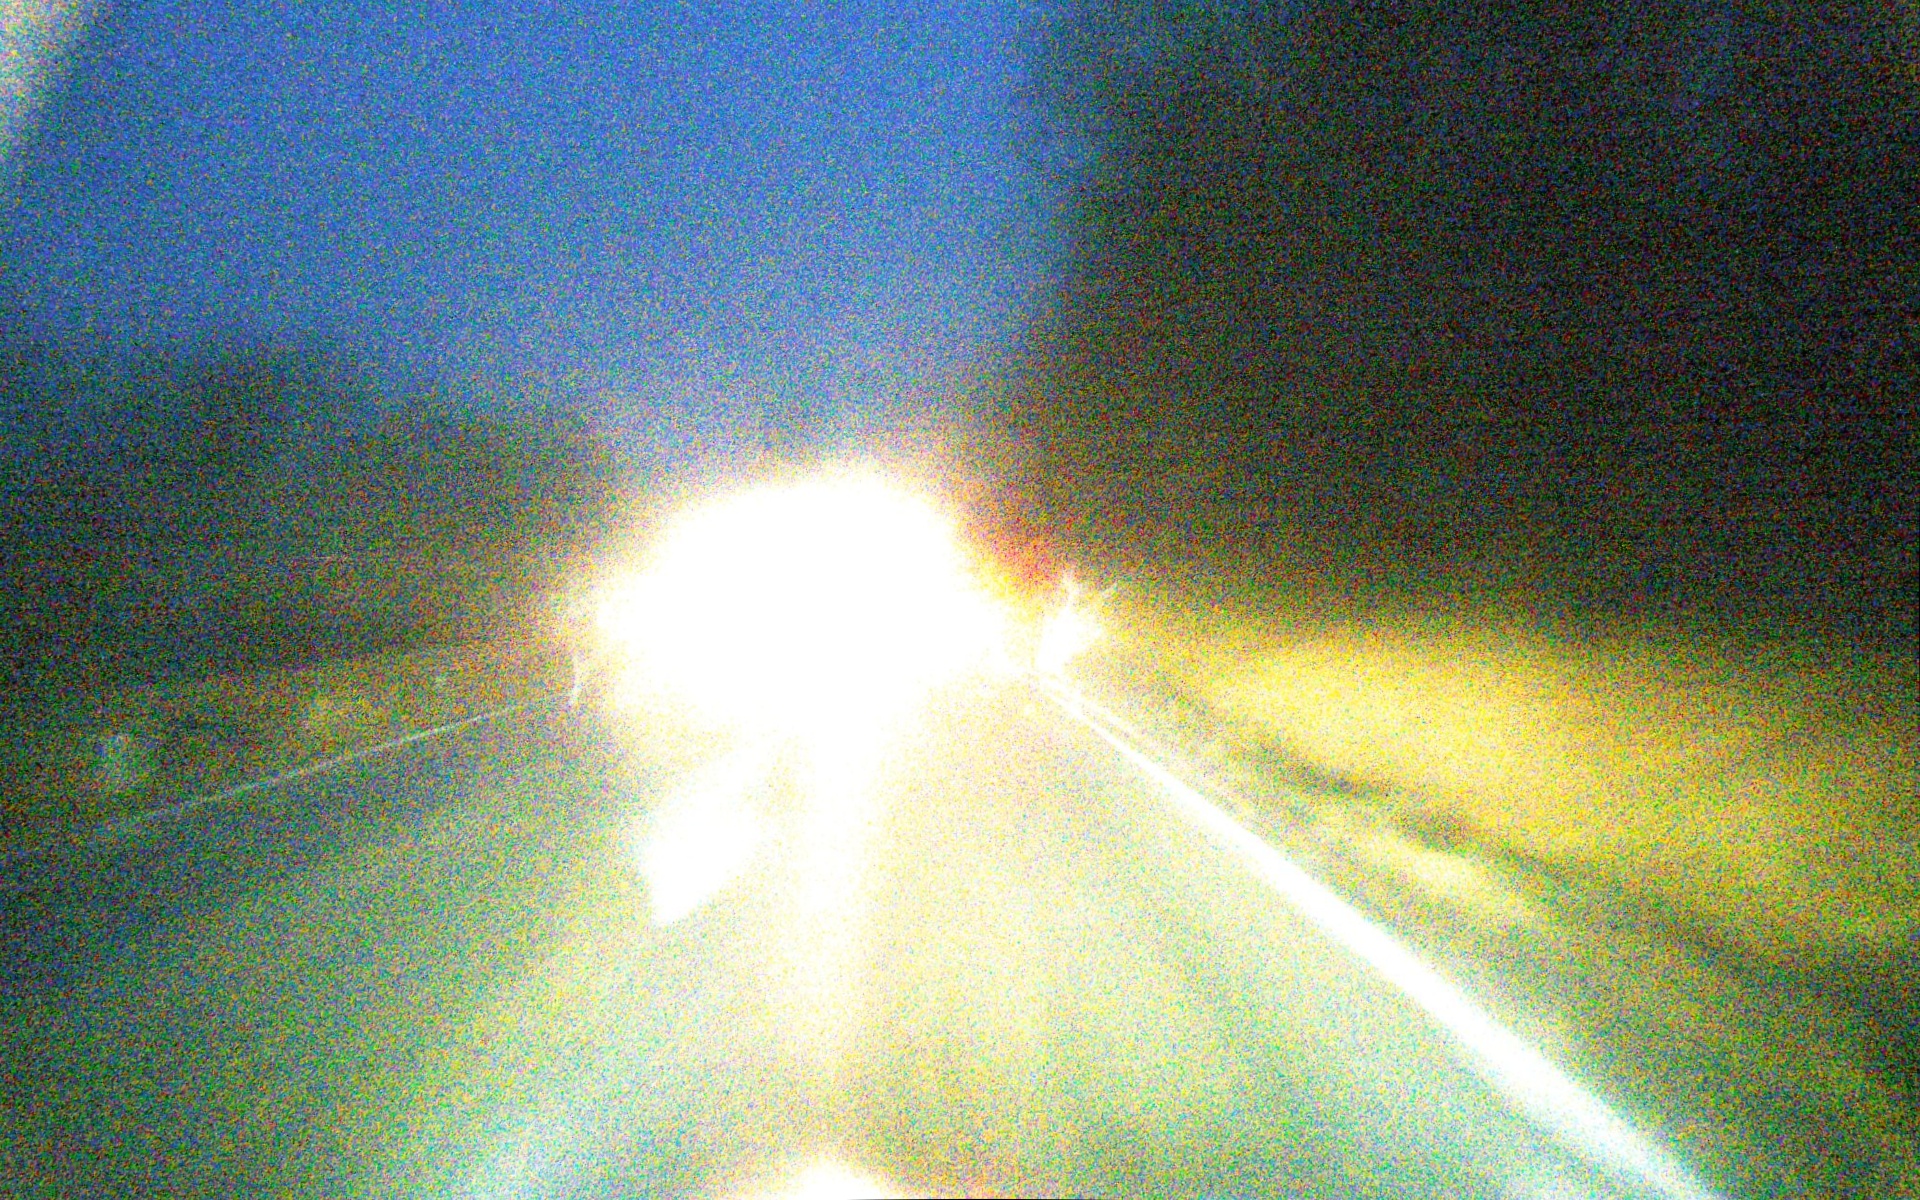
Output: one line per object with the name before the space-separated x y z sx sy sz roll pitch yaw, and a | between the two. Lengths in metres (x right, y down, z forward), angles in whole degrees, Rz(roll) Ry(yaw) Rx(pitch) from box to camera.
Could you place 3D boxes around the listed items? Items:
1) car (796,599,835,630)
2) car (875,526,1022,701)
car | -7.356 0.736 84.386 1.807 1.531 3.708 1 -1 -2
car | -0.250 0.144 28.082 2.137 2.601 4.507 4 2 -2
